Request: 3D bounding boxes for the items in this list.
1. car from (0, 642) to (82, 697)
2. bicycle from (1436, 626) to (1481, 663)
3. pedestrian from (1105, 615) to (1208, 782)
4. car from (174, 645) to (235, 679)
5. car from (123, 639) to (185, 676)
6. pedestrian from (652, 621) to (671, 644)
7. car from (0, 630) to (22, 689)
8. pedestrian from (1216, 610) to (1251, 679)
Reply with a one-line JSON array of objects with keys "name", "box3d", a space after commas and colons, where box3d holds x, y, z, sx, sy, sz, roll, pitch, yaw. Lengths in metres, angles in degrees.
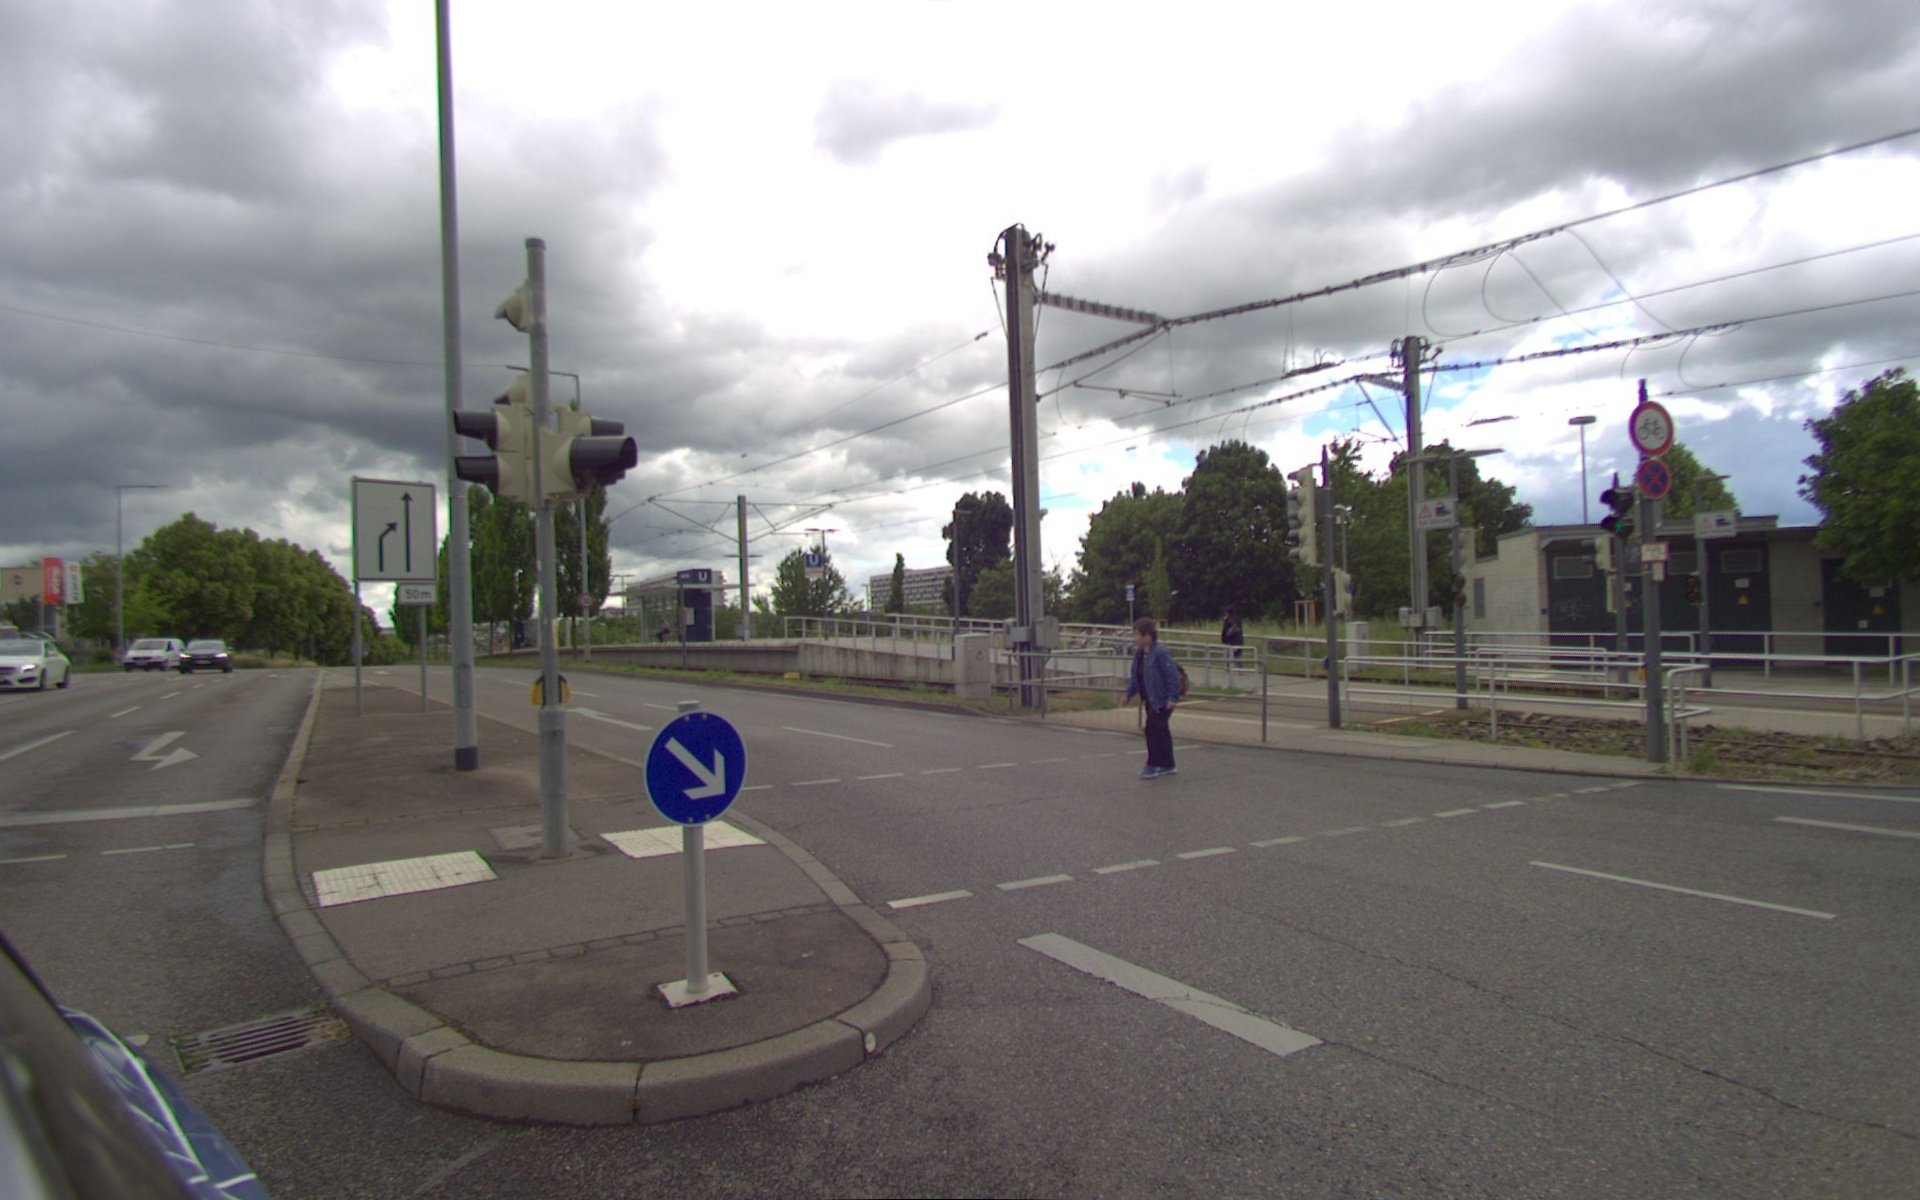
[{"name": "car", "box3d": [-25.794, 1.931, 27.585, 1.783, 1.351, 4.235, 0, -5, -27]}, {"name": "bicycle", "box3d": [15.999, 1.407, 32.530, 0.671, 1.114, 2.249, -1, -1, 9]}, {"name": "pedestrian", "box3d": [1.911, 0.924, 9.864, 0.703, 1.542, 0.673, 0, -2, -28]}, {"name": "car", "box3d": [-34.304, 2.842, 46.041, 1.784, 1.351, 4.234, 1, -5, -31]}, {"name": "car", "box3d": [-46.518, 3.272, 58.520, 1.918, 1.920, 5.254, 0, -2, -29]}, {"name": "pedestrian", "box3d": [-15.858, 1.732, 53.763, 0.739, 1.184, 0.840, 0, -1, -33]}, {"name": "car", "box3d": [-34.283, 2.083, 34.871, 2.148, 1.920, 4.465, 1, -5, -34]}, {"name": "pedestrian", "box3d": [6.434, 1.027, 23.805, 0.555, 1.584, 0.547, 1, 0, -33]}]
